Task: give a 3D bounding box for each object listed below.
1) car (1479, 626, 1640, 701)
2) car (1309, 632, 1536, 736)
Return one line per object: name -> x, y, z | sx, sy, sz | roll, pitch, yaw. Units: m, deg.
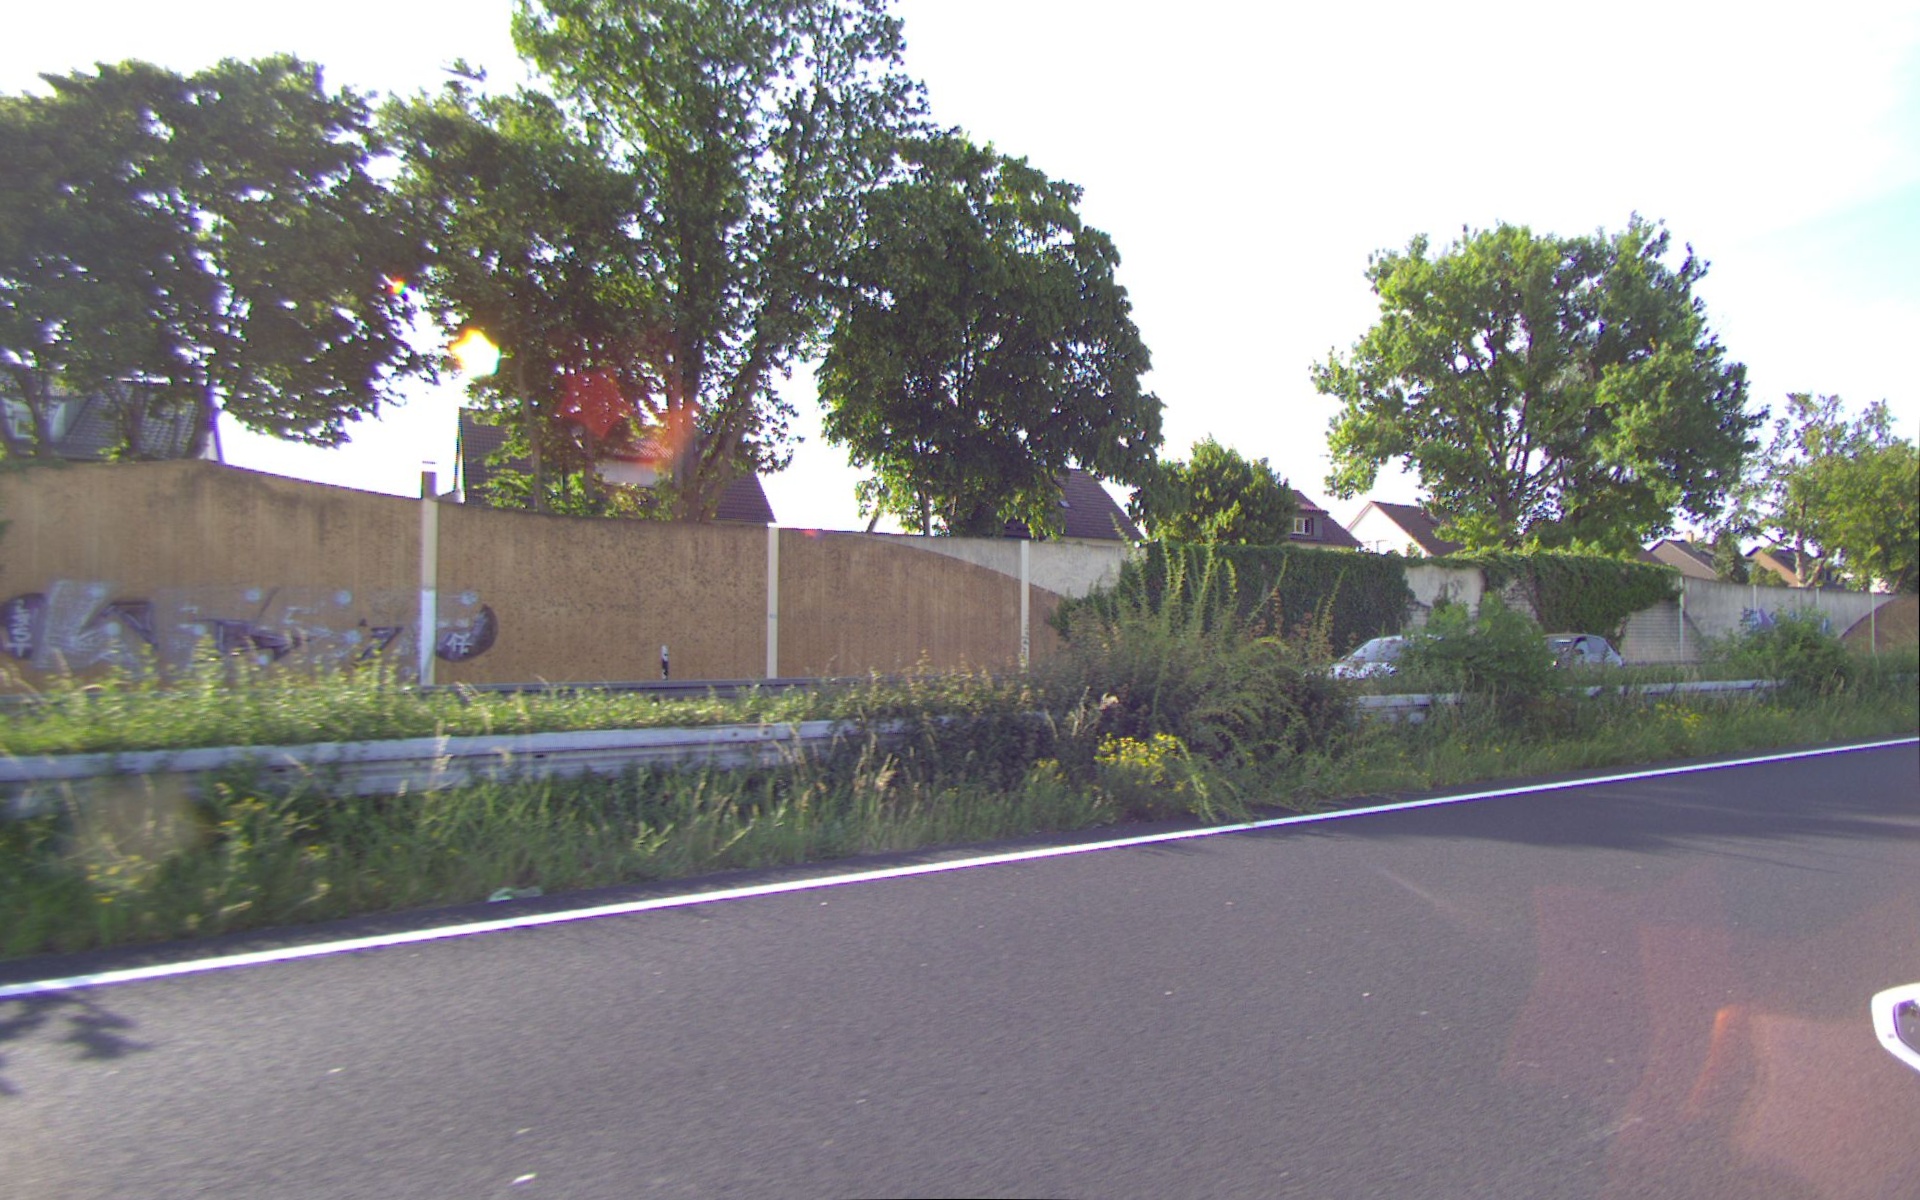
car -> 15.666, 1.612, 26.226 | 3.953, 1.751, 1.927 | 2, 0, -30
car -> 7.774, 1.347, 16.841 | 3.630, 1.508, 1.685 | 2, 0, -30
